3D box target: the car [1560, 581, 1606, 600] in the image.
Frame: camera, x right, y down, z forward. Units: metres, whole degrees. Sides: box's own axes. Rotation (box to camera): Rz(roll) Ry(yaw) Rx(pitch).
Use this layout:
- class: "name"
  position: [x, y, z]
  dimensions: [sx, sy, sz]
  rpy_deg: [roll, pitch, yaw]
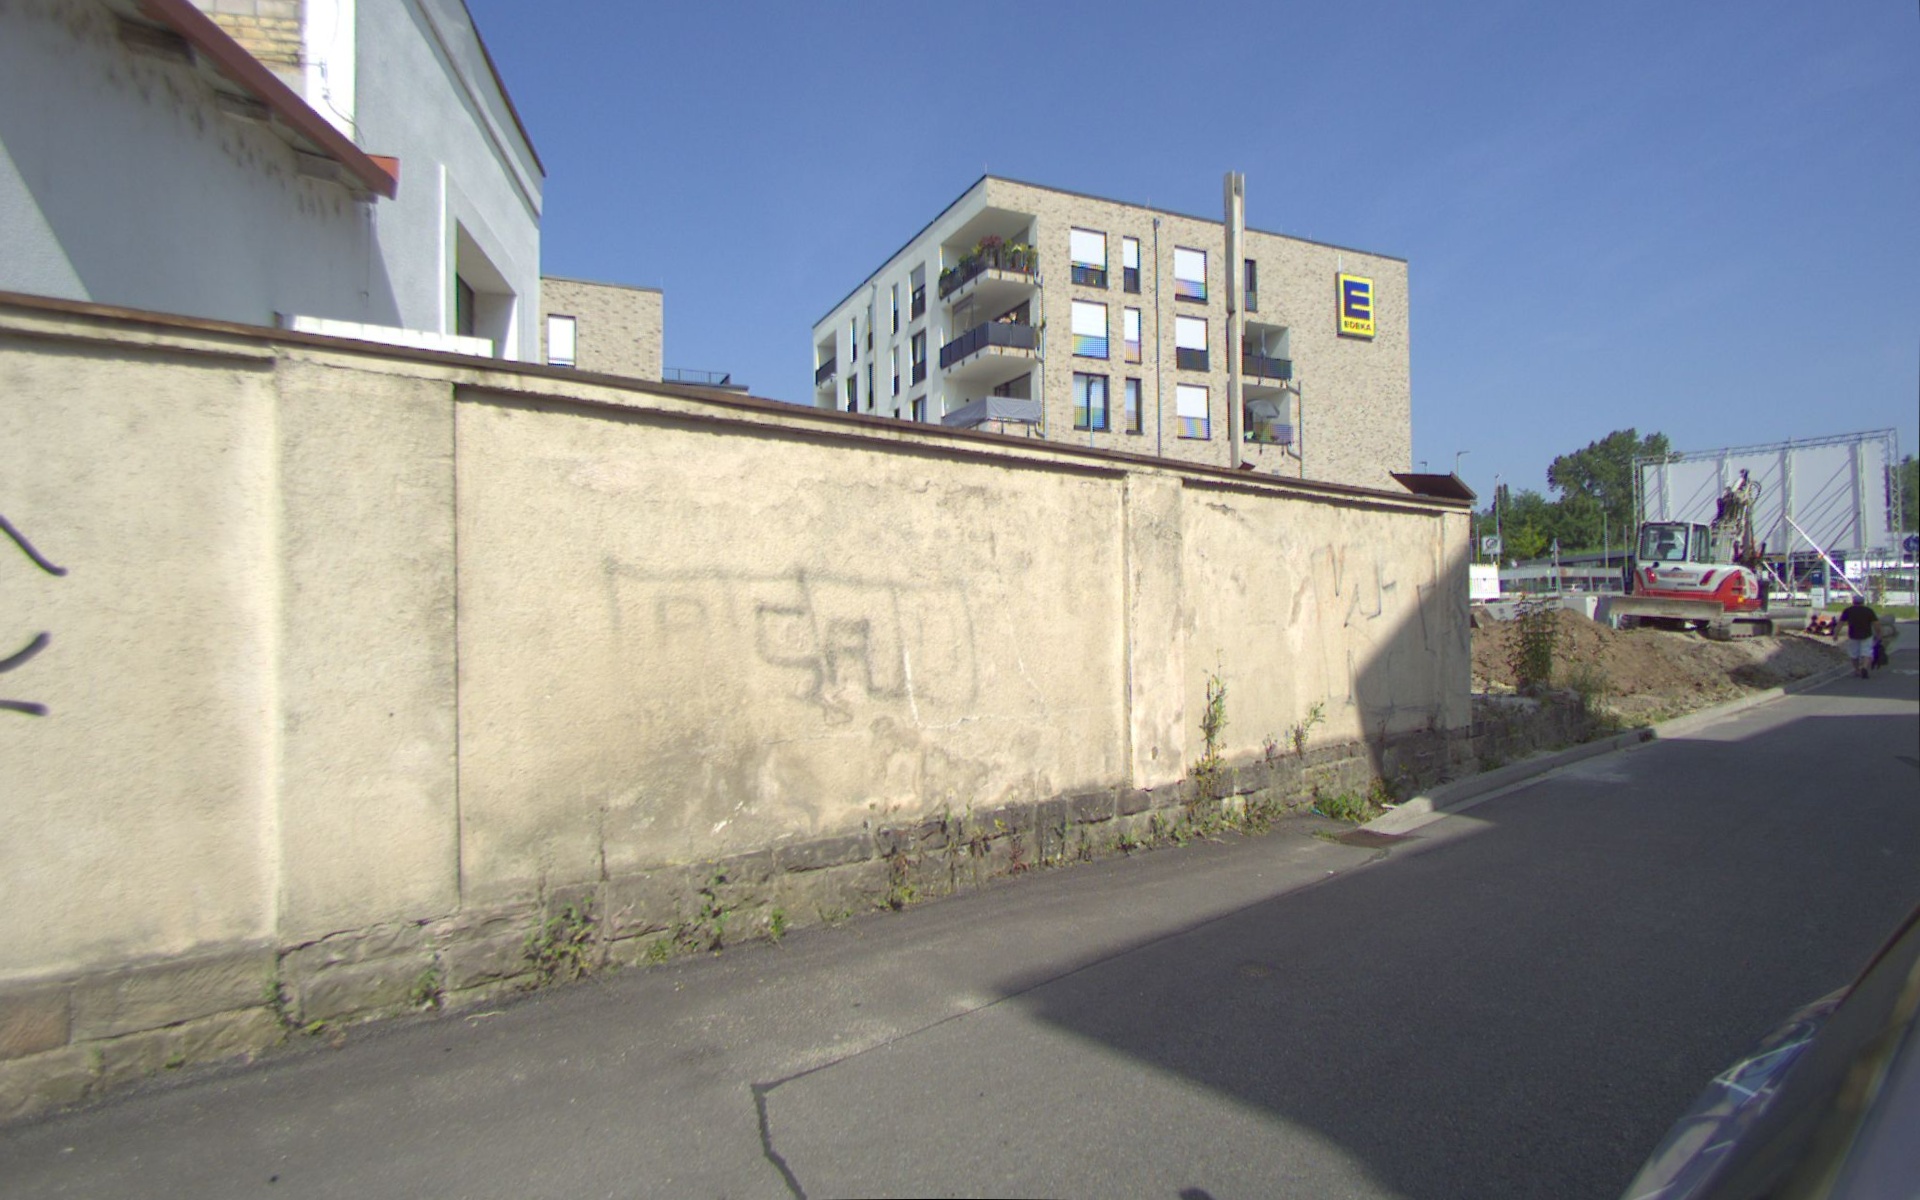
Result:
- class: "car"
  position: [57.645, -0.887, 93.654]
  dimensions: [3.708, 1.595, 1.668]
  rpy_deg: [0, -3, -24]

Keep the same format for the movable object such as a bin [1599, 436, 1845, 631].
- class: "movable object such as a bin"
  position: [18.041, -1.377, 23.764]
  dimensions: [7.653, 3.904, 2.300]
  rpy_deg: [-1, -3, -36]

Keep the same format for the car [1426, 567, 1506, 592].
- class: "car"
  position: [34.793, -1.410, 69.740]
  dimensions: [1.819, 1.575, 4.831]
  rpy_deg: [2, 0, -24]

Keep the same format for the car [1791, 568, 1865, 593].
- class: "car"
  position: [67.310, -1.460, 78.493]
  dimensions: [1.746, 1.595, 4.017]
  rpy_deg: [1, -4, -38]

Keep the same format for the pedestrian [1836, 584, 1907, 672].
- class: "pedestrian"
  position: [18.273, 0.557, 20.294]
  dimensions: [0.706, 1.705, 0.890]
  rpy_deg: [-1, -2, -40]
